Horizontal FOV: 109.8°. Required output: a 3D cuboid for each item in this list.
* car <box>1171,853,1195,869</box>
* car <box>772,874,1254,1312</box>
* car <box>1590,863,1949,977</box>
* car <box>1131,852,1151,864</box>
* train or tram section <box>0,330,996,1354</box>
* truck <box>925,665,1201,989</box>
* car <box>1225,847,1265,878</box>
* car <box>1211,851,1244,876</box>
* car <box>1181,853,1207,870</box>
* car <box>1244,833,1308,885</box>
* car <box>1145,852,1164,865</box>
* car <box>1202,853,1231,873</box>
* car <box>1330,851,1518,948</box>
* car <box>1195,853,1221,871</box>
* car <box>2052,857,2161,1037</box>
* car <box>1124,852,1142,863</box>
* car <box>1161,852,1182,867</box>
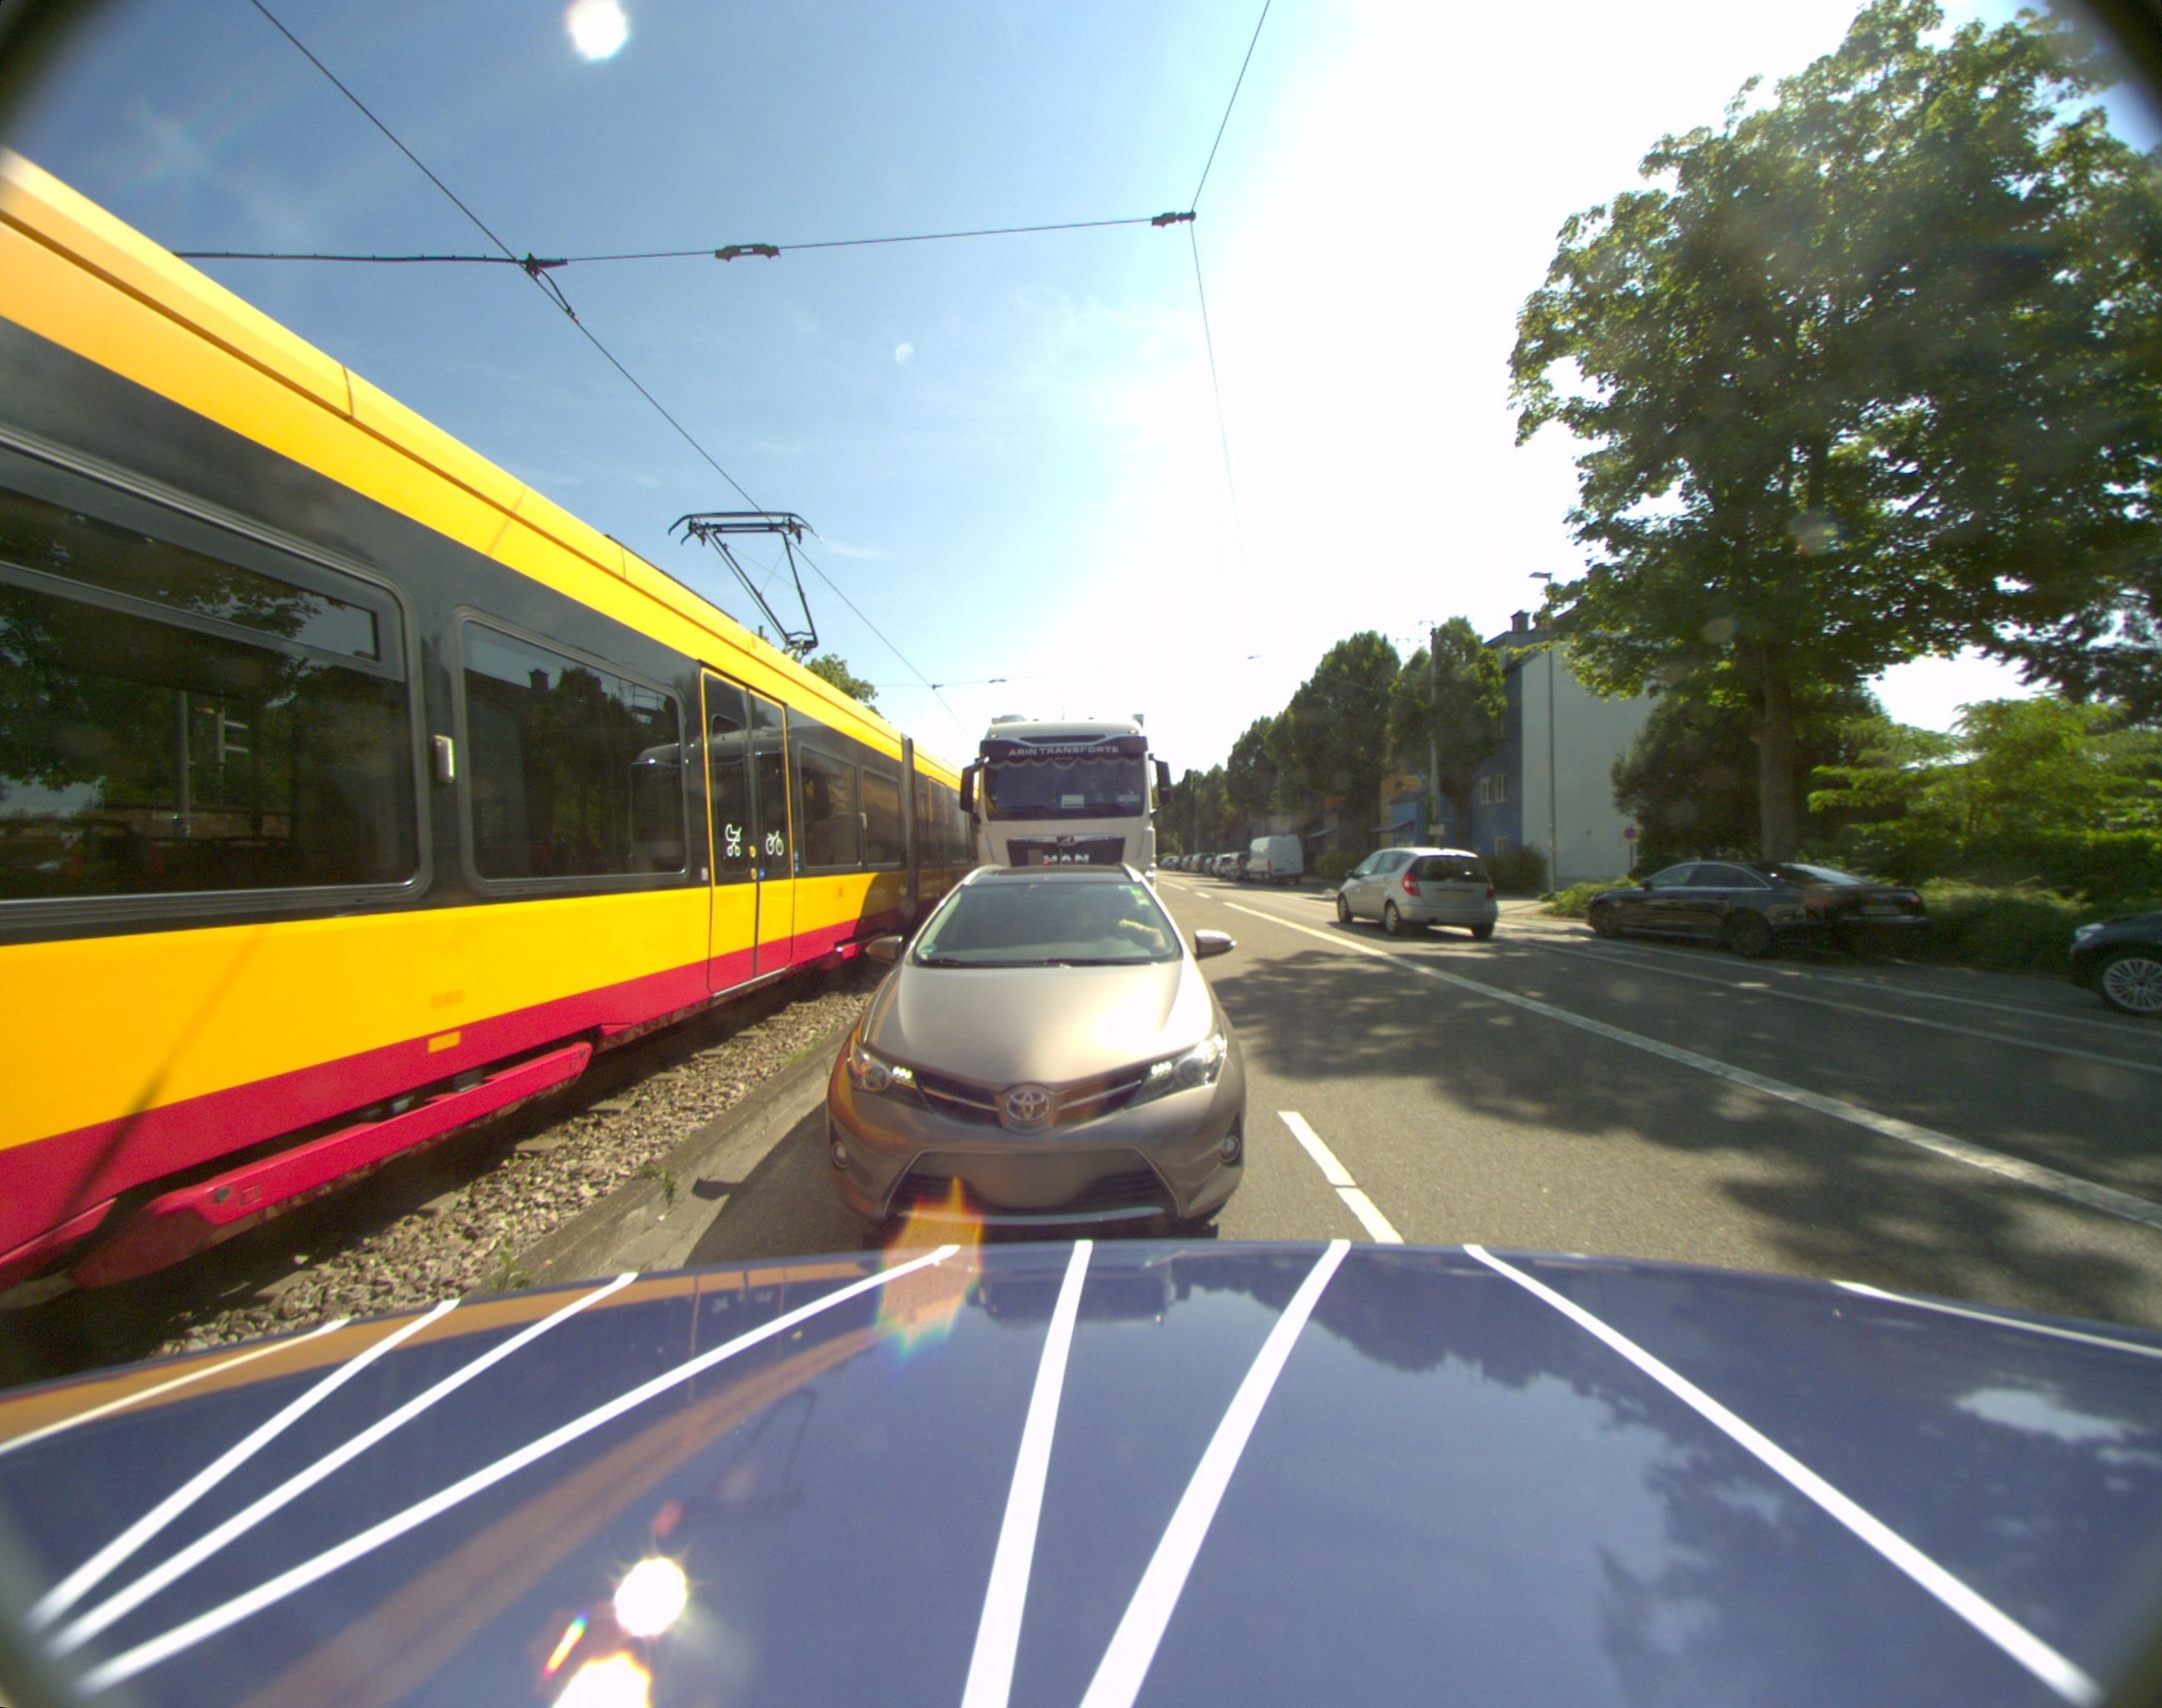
[{"bbox_3d":[10.542,0.674,78.836,1.679,1.493,3.765,-4,0,-3],"label":"car"},{"bbox_3d":[-0.221,0.931,4.791,1.719,1.439,4.030,-2,0,1],"label":"car"},{"bbox_3d":[10.560,0.902,12.231,1.679,1.427,4.457,0,0,-1],"label":"car"},{"bbox_3d":[8.248,0.524,104.797,1.680,1.493,3.763,-4,0,-10],"label":"car"},{"bbox_3d":[-3.912,-0.098,12.209,2.679,3.631,18.955,-2,1,0],"label":"train or tram section"},{"bbox_3d":[-0.134,-0.423,16.926,3.391,4.046,14.285,-2,1,1],"label":"truck"},{"bbox_3d":[11.048,0.564,51.537,1.679,1.925,4.457,-4,0,1],"label":"car"},{"bbox_3d":[10.995,0.679,57.161,1.679,1.659,4.148,-4,0,1],"label":"car"},{"bbox_3d":[10.855,0.680,73.397,1.679,1.493,3.765,-4,0,-3],"label":"car"},{"bbox_3d":[10.979,0.256,43.183,2.016,2.636,6.086,-4,0,1],"label":"car"},{"bbox_3d":[9.346,0.572,96.480,1.679,1.493,3.765,-4,0,-4],"label":"car"},{"bbox_3d":[11.149,0.728,62.584,1.679,1.493,3.766,-4,0,1],"label":"car"},{"bbox_3d":[6.362,0.746,14.654,1.847,1.587,4.000,1,0,1],"label":"car"},{"bbox_3d":[11.220,0.685,67.284,1.679,1.493,3.766,-4,0,1],"label":"car"},{"bbox_3d":[10.544,0.840,5.454,1.679,1.603,4.242,0,0,-1],"label":"car"},{"bbox_3d":[7.501,0.542,109.562,1.680,1.493,3.763,-2,1,-10],"label":"car"},{"bbox_3d":[10.163,0.609,85.852,1.679,1.493,3.765,-4,0,-3],"label":"car"}]
